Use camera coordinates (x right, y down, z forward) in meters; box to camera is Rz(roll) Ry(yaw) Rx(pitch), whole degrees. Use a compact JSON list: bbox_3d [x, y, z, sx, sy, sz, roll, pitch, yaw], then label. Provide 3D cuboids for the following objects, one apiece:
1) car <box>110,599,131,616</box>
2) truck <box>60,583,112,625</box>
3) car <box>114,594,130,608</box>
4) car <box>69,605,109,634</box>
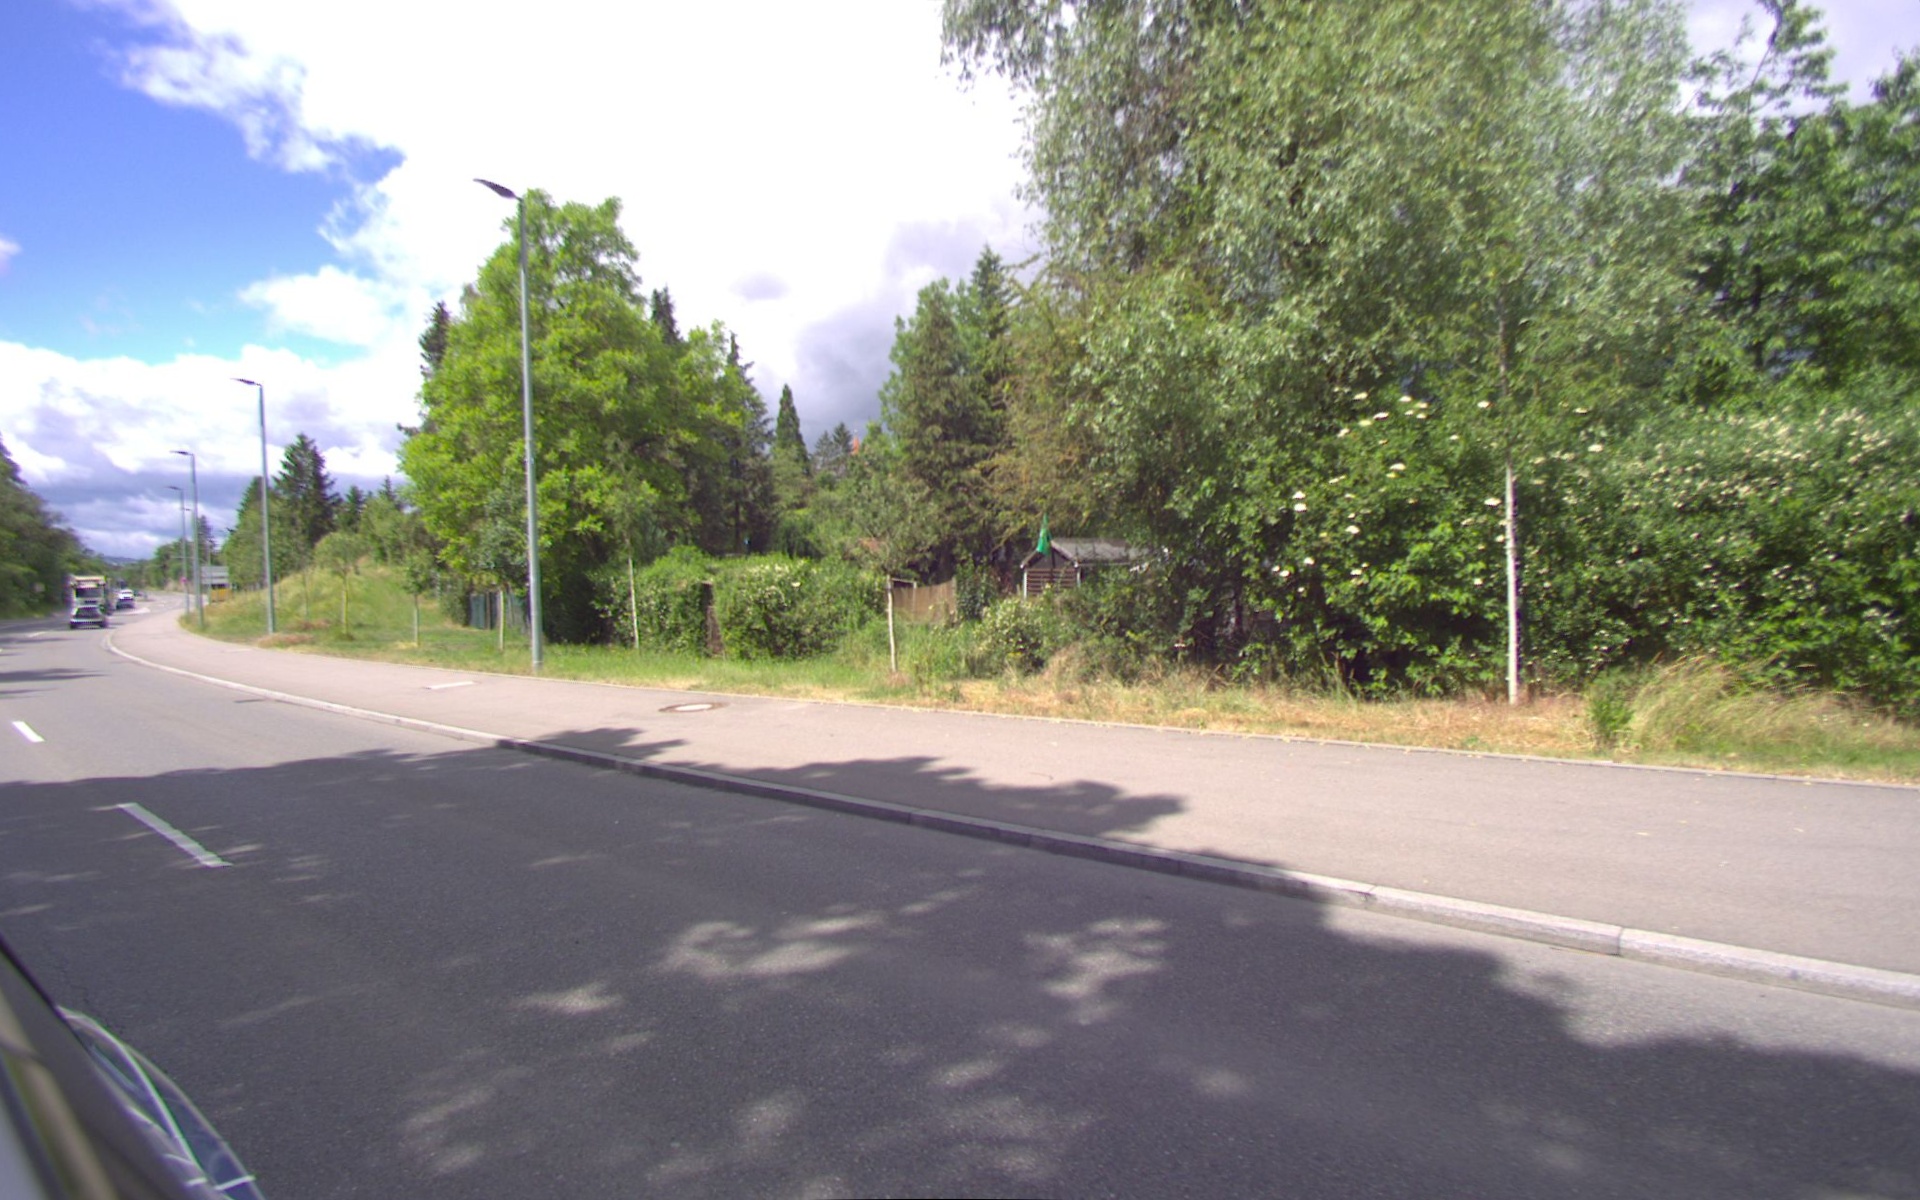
[{"bbox_3d":[-106.942,0.952,128.905,1.968,2.029,4.008,-1,1,-39],"label":"car"},{"bbox_3d":[-84.324,0.343,97.806,3.191,3.889,9.894,-1,1,-38],"label":"truck"},{"bbox_3d":[-139.583,0.234,168.664,1.968,2.241,4.007,-2,0,-39],"label":"car"},{"bbox_3d":[-53.858,1.163,62.542,1.777,1.674,4.005,-1,1,-42],"label":"car"}]
